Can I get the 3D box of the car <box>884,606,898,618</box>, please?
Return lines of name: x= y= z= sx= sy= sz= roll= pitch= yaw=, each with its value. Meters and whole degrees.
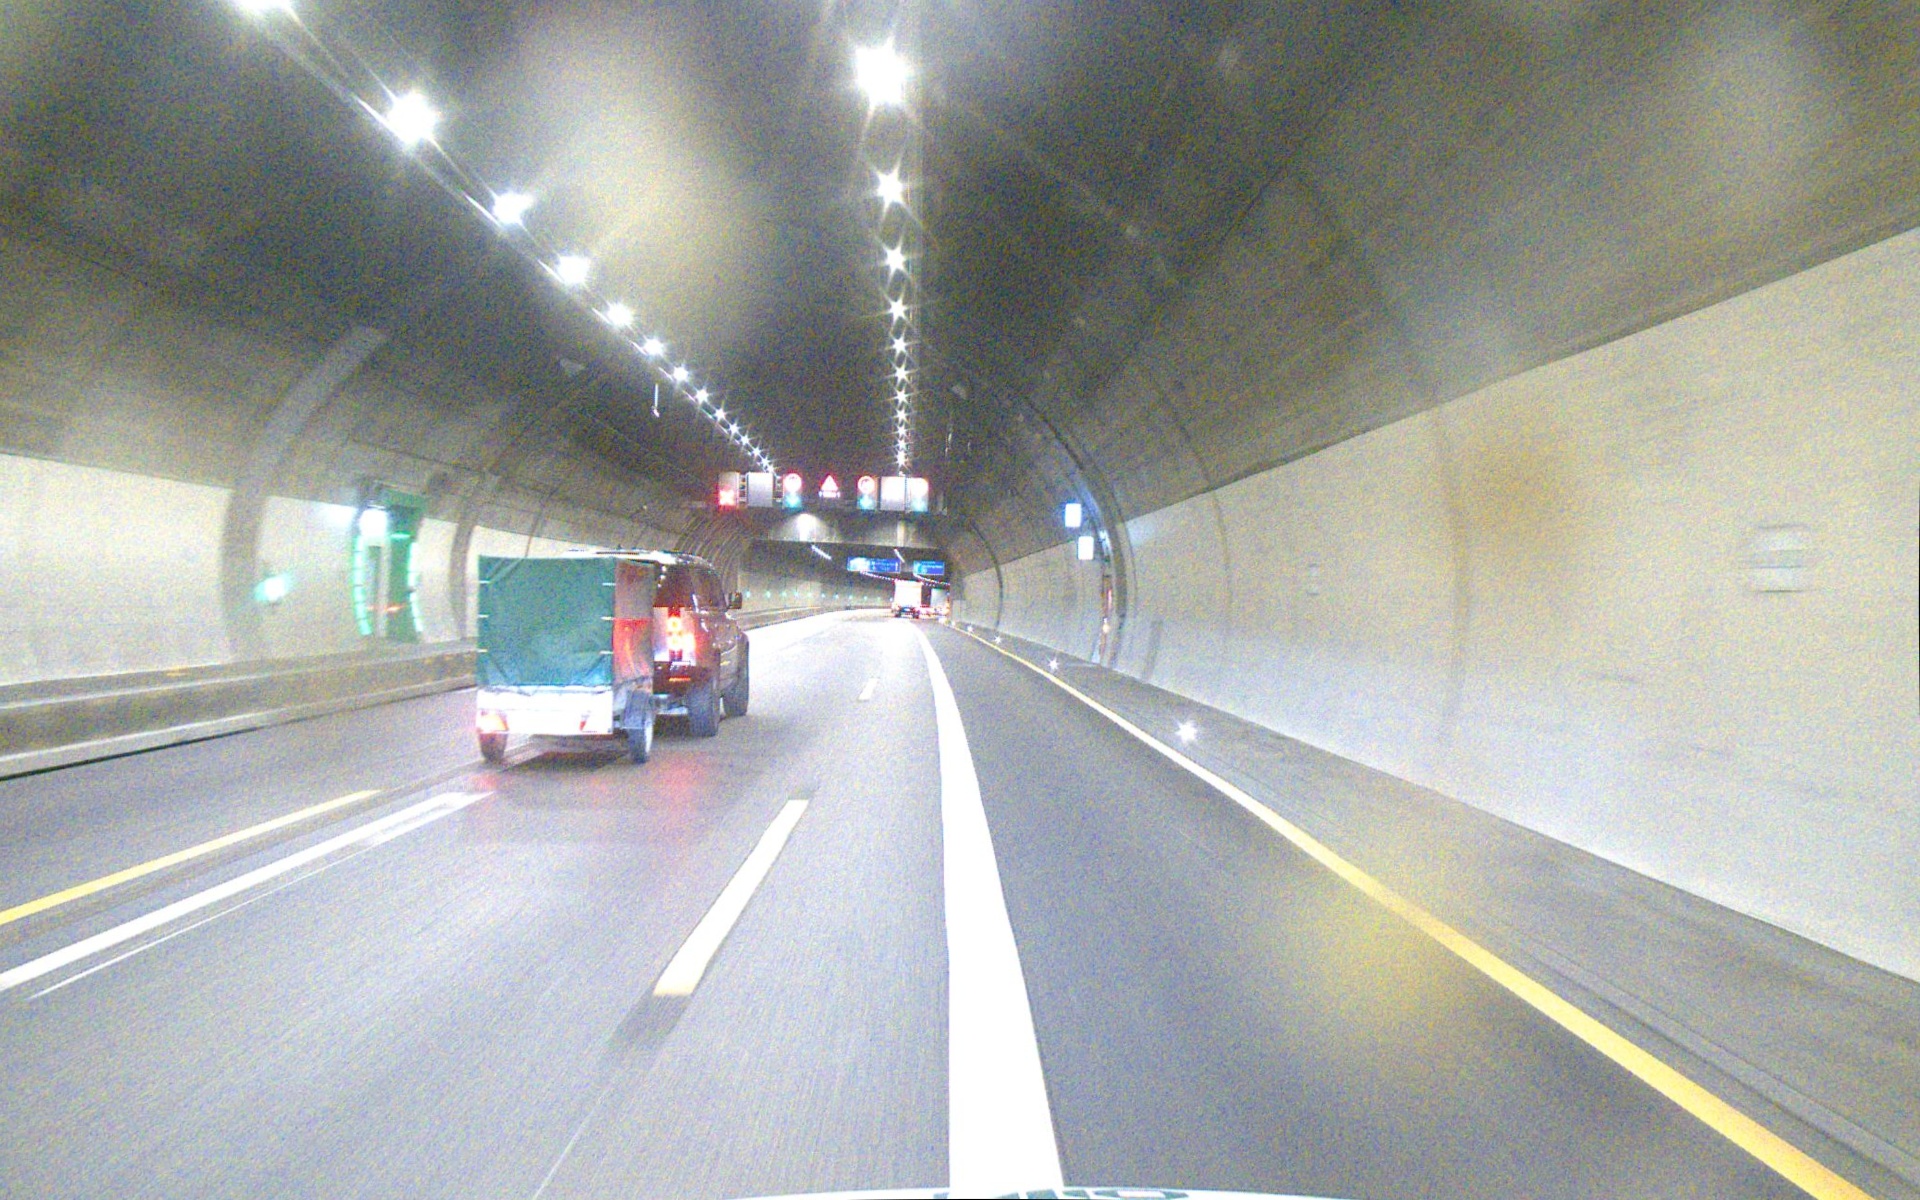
car: x=-9.369 y=1.611 z=224.409 sx=1.954 sy=1.609 sz=3.998 roll=1 pitch=0 yaw=-3

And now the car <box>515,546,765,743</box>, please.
car: x=-3.523 y=0.427 z=19.273 sx=1.953 sy=1.928 sz=5.452 roll=1 pitch=0 yaw=-2

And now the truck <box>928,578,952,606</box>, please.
truck: x=-3.222 y=-1.254 z=259.836 sx=3.404 sy=4.391 sz=10.947 roll=-1 pitch=0 yaw=-2

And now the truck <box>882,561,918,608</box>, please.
truck: x=-5.902 y=-1.532 z=161.769 sx=3.404 sy=4.391 sz=10.947 roll=1 pitch=1 yaw=-2

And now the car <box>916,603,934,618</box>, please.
car: x=-4.699 y=1.385 z=221.946 sx=1.952 sy=1.928 sz=5.534 roll=0 pitch=0 yaw=3
